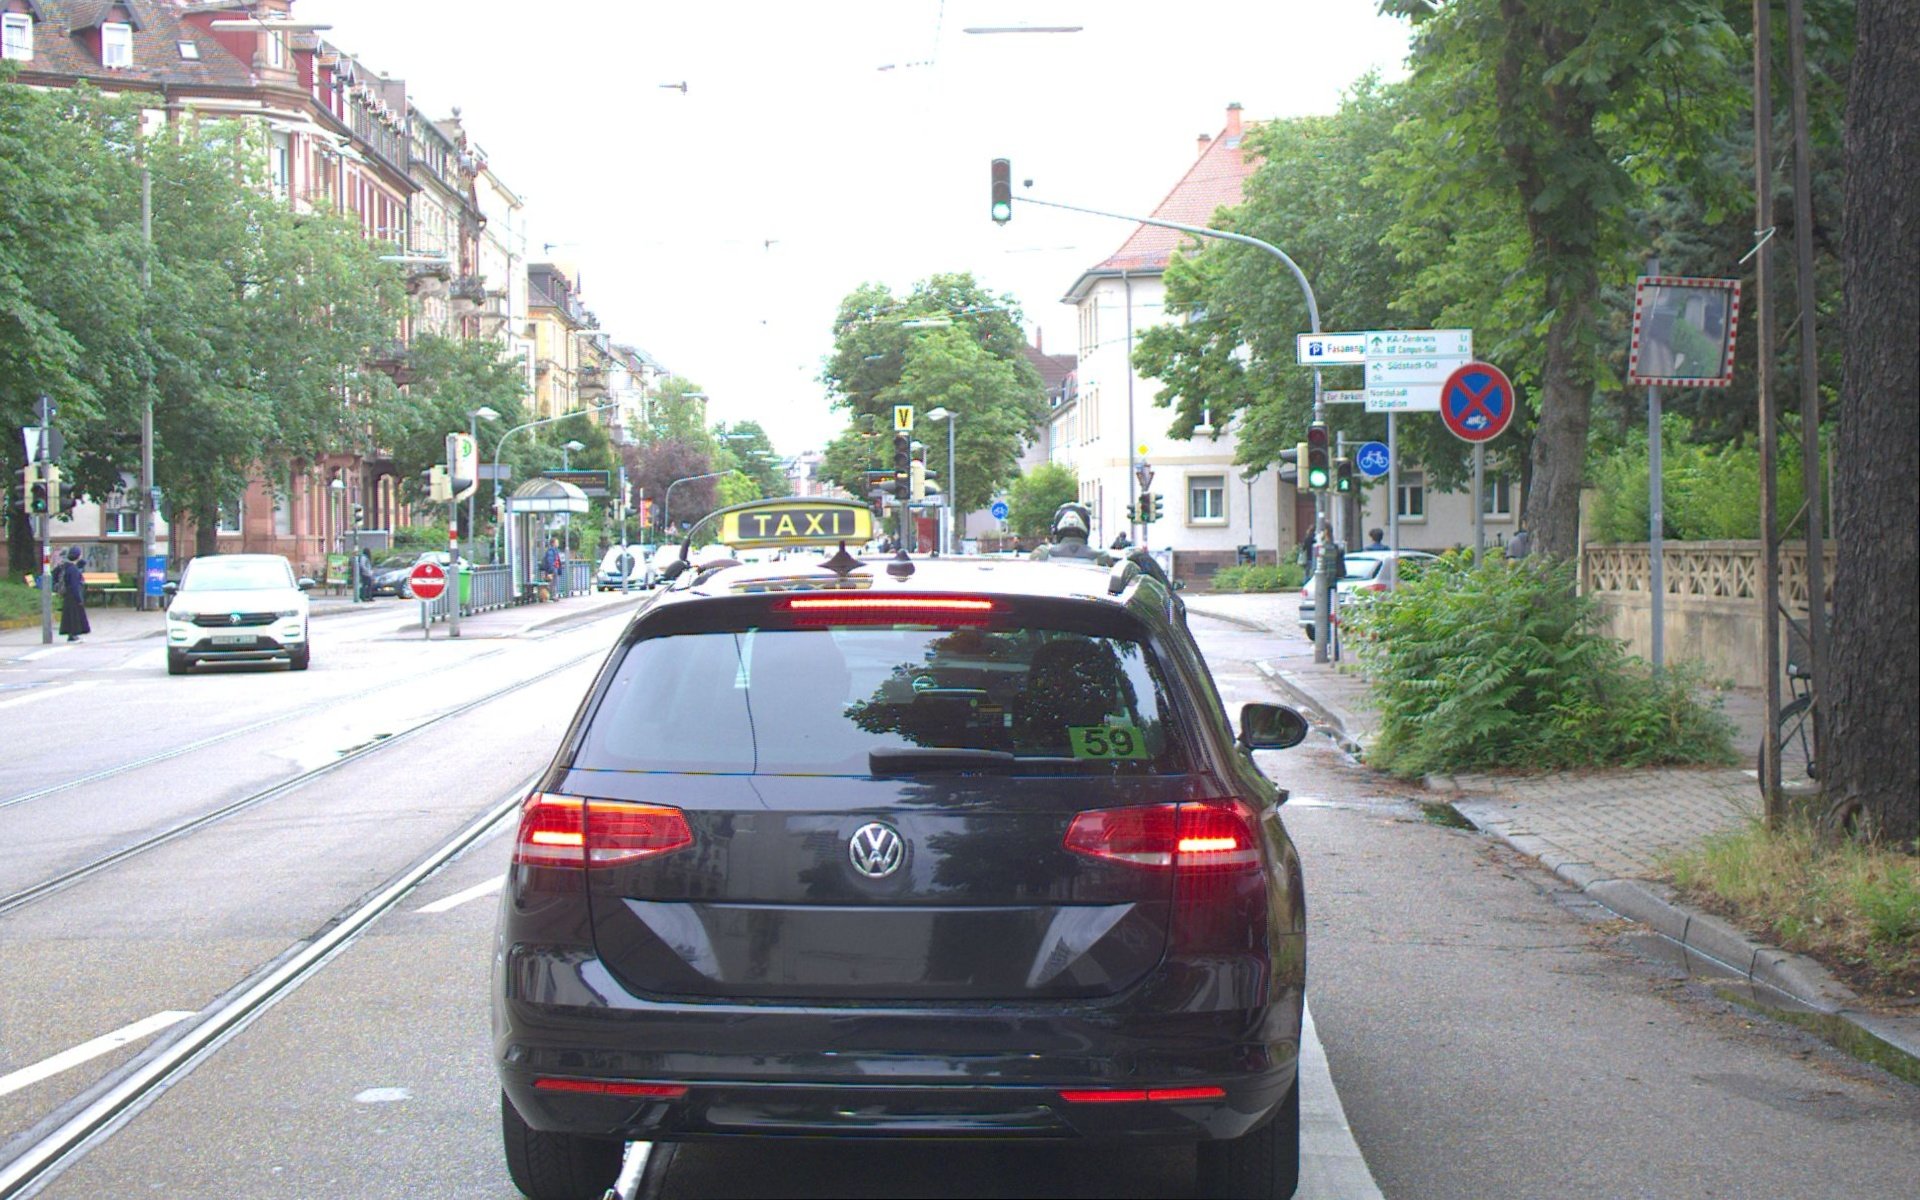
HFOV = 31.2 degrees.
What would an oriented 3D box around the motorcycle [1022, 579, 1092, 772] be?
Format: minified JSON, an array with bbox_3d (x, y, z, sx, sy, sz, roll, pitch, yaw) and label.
[{"bbox_3d":[0.667,0.489,23.475,0.446,1.231,1.907,-1,1,2],"label":"motorcycle"}]

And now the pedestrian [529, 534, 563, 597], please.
[{"bbox_3d":[-10.035,-0.842,83.364,0.714,1.515,0.590,-1,1,0],"label":"pedestrian"}]

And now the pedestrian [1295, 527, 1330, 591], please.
[{"bbox_3d":[8.564,-1.008,83.470,0.608,1.548,0.583,-1,1,-40],"label":"pedestrian"}]

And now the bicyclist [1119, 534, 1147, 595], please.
[{"bbox_3d":[4.442,-0.910,88.220,0.651,1.563,0.695,-1,1,6],"label":"bicyclist"}]

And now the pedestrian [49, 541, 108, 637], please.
[{"bbox_3d":[-15.261,-0.192,59.531,0.836,1.657,0.591,-1,1,0],"label":"pedestrian"}]

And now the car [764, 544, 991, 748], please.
[{"bbox_3d":[-0.673,0.316,28.081,1.723,1.541,4.000,0,1,-1],"label":"car"}]

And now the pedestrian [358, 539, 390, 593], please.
[{"bbox_3d":[-16.571,-0.966,97.176,0.589,1.515,0.648,0,1,34],"label":"pedestrian"}]

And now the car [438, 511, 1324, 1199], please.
[{"bbox_3d":[-0.199,0.559,8.697,1.723,1.541,4.000,0,1,-1],"label":"car"}]

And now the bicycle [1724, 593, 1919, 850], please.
[{"bbox_3d":[4.442,0.568,16.846,0.433,1.194,1.899,0,0,44],"label":"bicycle"}]

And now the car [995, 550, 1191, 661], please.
[{"bbox_3d":[1.878,0.049,47.269,1.893,1.403,3.998,-1,1,14],"label":"car"}]

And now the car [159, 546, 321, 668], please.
[{"bbox_3d":[-9.494,0.056,45.560,1.698,1.491,3.932,-2,1,-7],"label":"car"}]

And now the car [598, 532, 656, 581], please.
[{"bbox_3d":[-11.347,-1.489,117.260,1.721,1.617,3.864,-1,1,-2],"label":"car"}]

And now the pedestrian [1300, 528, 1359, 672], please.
[{"bbox_3d":[4.800,-0.001,44.692,0.585,1.824,0.604,-4,1,0],"label":"pedestrian"}]

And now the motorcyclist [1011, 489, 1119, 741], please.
[{"bbox_3d":[0.719,0.096,23.506,0.703,1.686,0.804,-1,1,2],"label":"motorcyclist"}]

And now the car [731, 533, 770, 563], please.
[{"bbox_3d":[-11.366,-2.817,186.695,1.795,1.590,4.000,0,1,1],"label":"car"}]

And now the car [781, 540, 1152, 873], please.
[{"bbox_3d":[-0.016,0.460,17.993,1.723,1.541,4.000,0,1,-1],"label":"car"}]

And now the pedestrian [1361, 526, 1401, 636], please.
[{"bbox_3d":[7.165,-0.328,58.489,0.514,1.824,0.417,-3,1,15],"label":"pedestrian"}]

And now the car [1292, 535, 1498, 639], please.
[{"bbox_3d":[6.901,-0.206,54.253,1.996,1.572,3.994,1,0,27],"label":"car"}]

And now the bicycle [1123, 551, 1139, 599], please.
[{"bbox_3d":[4.387,-0.649,88.141,0.297,1.219,1.430,-1,1,6],"label":"bicycle"}]

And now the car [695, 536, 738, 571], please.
[{"bbox_3d":[-10.551,-2.035,149.147,1.721,1.460,3.864,-1,1,-2],"label":"car"}]

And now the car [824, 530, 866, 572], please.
[{"bbox_3d":[-5.684,-2.423,170.578,2.033,2.007,4.000,1,0,-1],"label":"car"}]

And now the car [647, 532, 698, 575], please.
[{"bbox_3d":[-11.051,-1.782,132.269,1.721,1.617,3.864,-1,1,-2],"label":"car"}]

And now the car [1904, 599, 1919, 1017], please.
[{"bbox_3d":[3.943,0.702,9.063,1.602,1.394,4.228,-2,1,-1],"label":"car"}]

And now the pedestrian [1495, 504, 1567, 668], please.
[{"bbox_3d":[6.353,-0.159,38.263,0.632,1.808,0.726,-1,1,-4],"label":"pedestrian"}]
